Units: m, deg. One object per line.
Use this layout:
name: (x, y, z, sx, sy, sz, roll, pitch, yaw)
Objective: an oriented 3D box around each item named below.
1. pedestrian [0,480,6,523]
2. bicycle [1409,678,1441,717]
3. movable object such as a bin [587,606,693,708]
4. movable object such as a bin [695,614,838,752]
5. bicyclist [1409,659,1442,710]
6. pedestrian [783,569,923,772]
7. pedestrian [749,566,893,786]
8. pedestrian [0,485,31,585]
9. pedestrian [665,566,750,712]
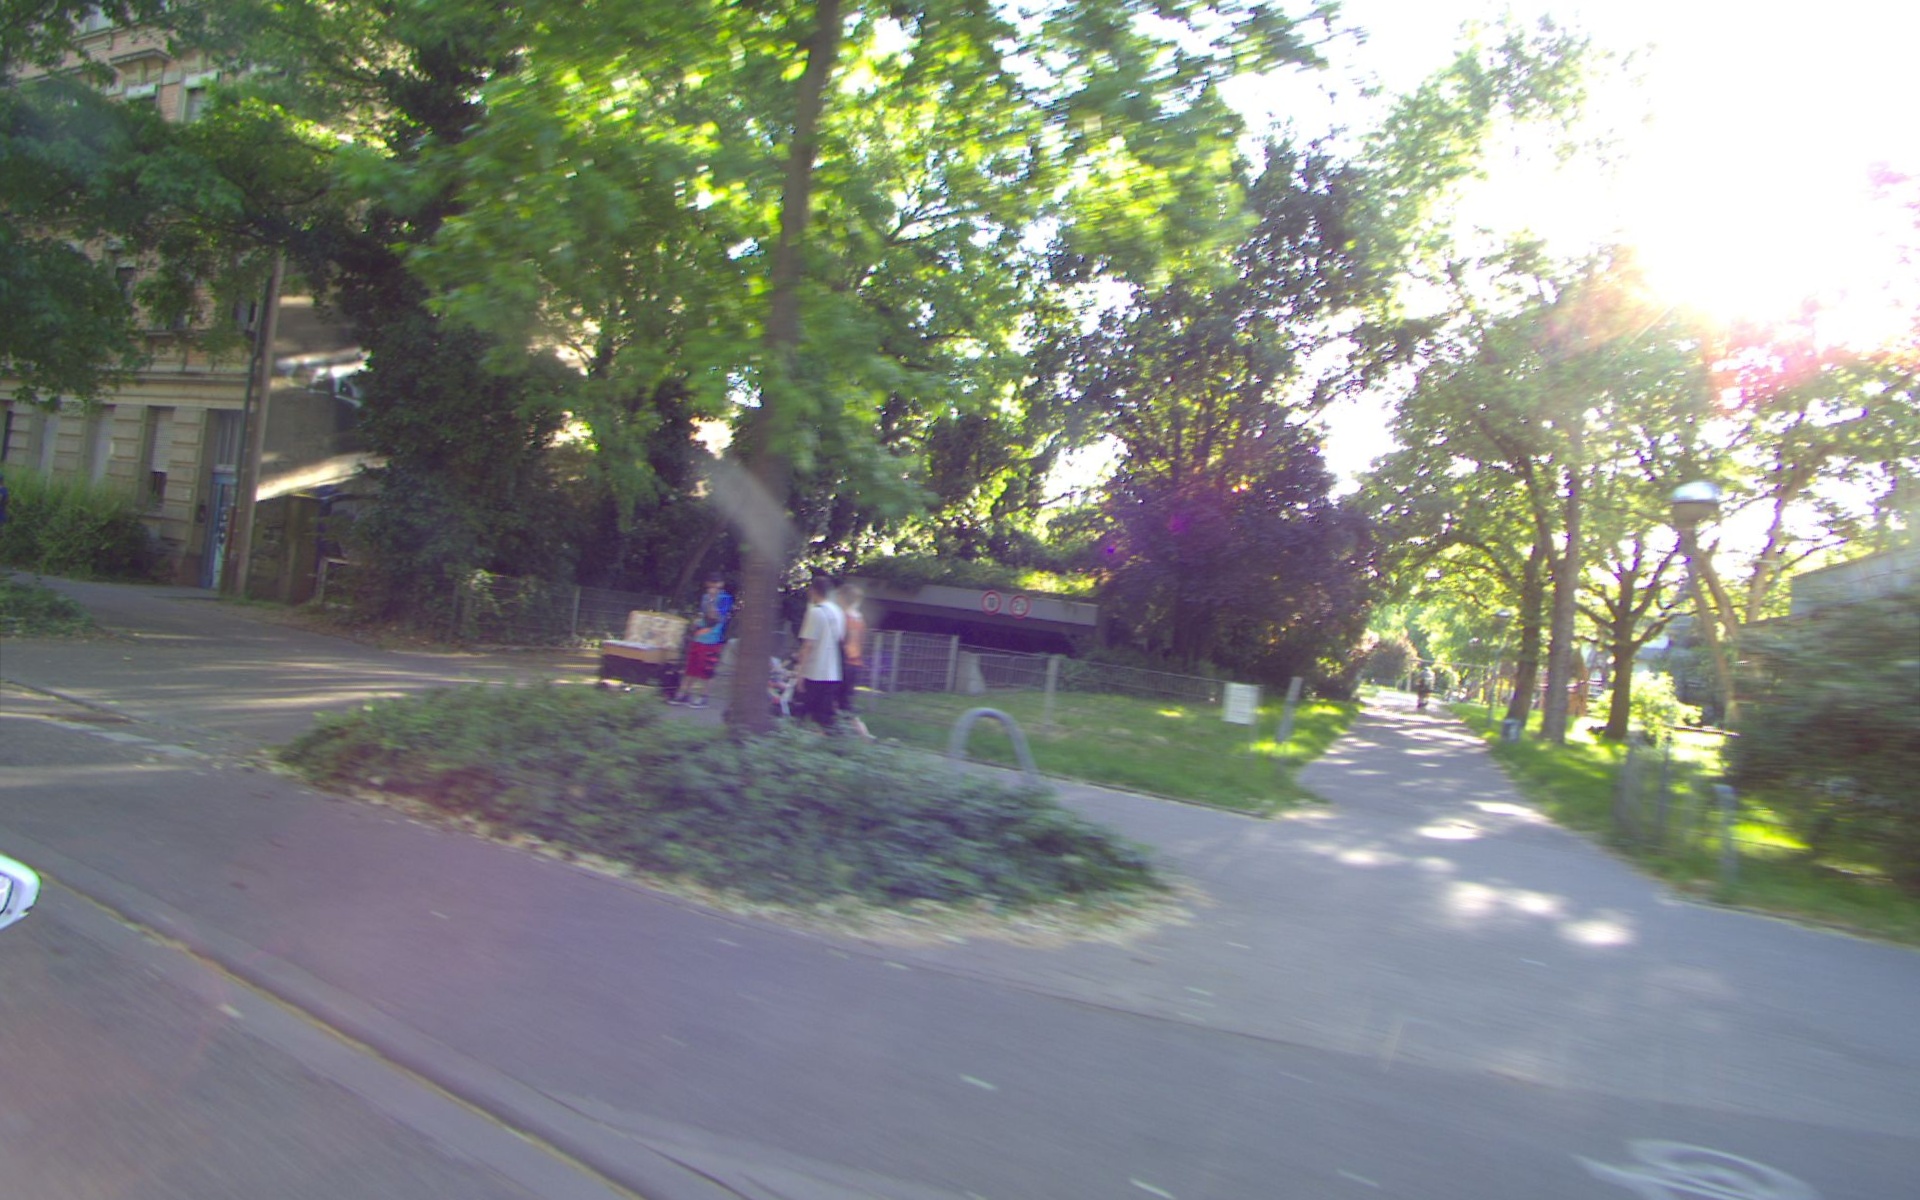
pedestrian: (-18.884, -1.460, 19.116, 0.589, 1.813, 0.729, 7, -2, 19)
bicycle: (17.381, 3.659, 37.676, 0.919, 1.280, 2.691, 7, -3, 25)
movable object such as a bin: (-4.032, 0.724, 12.714, 0.939, 1.139, 0.668, 7, -2, 18)
movable object such as a bin: (-2.001, 0.831, 10.355, 1.285, 1.218, 0.639, 7, 1, 36)
bicyclist: (17.400, 3.182, 37.593, 0.919, 1.765, 1.068, 7, -2, 25)
pedestrian: (-1.050, 0.668, 9.863, 0.953, 1.816, 0.726, 7, 1, 36)
pedestrian: (-1.254, 0.664, 9.083, 0.840, 1.816, 0.726, 7, 1, 36)
pedestrian: (-18.197, -1.257, 18.955, 0.715, 1.813, 0.601, 7, -1, 23)
pedestrian: (-3.167, 0.502, 12.645, 0.545, 1.745, 0.619, 7, -2, 28)
